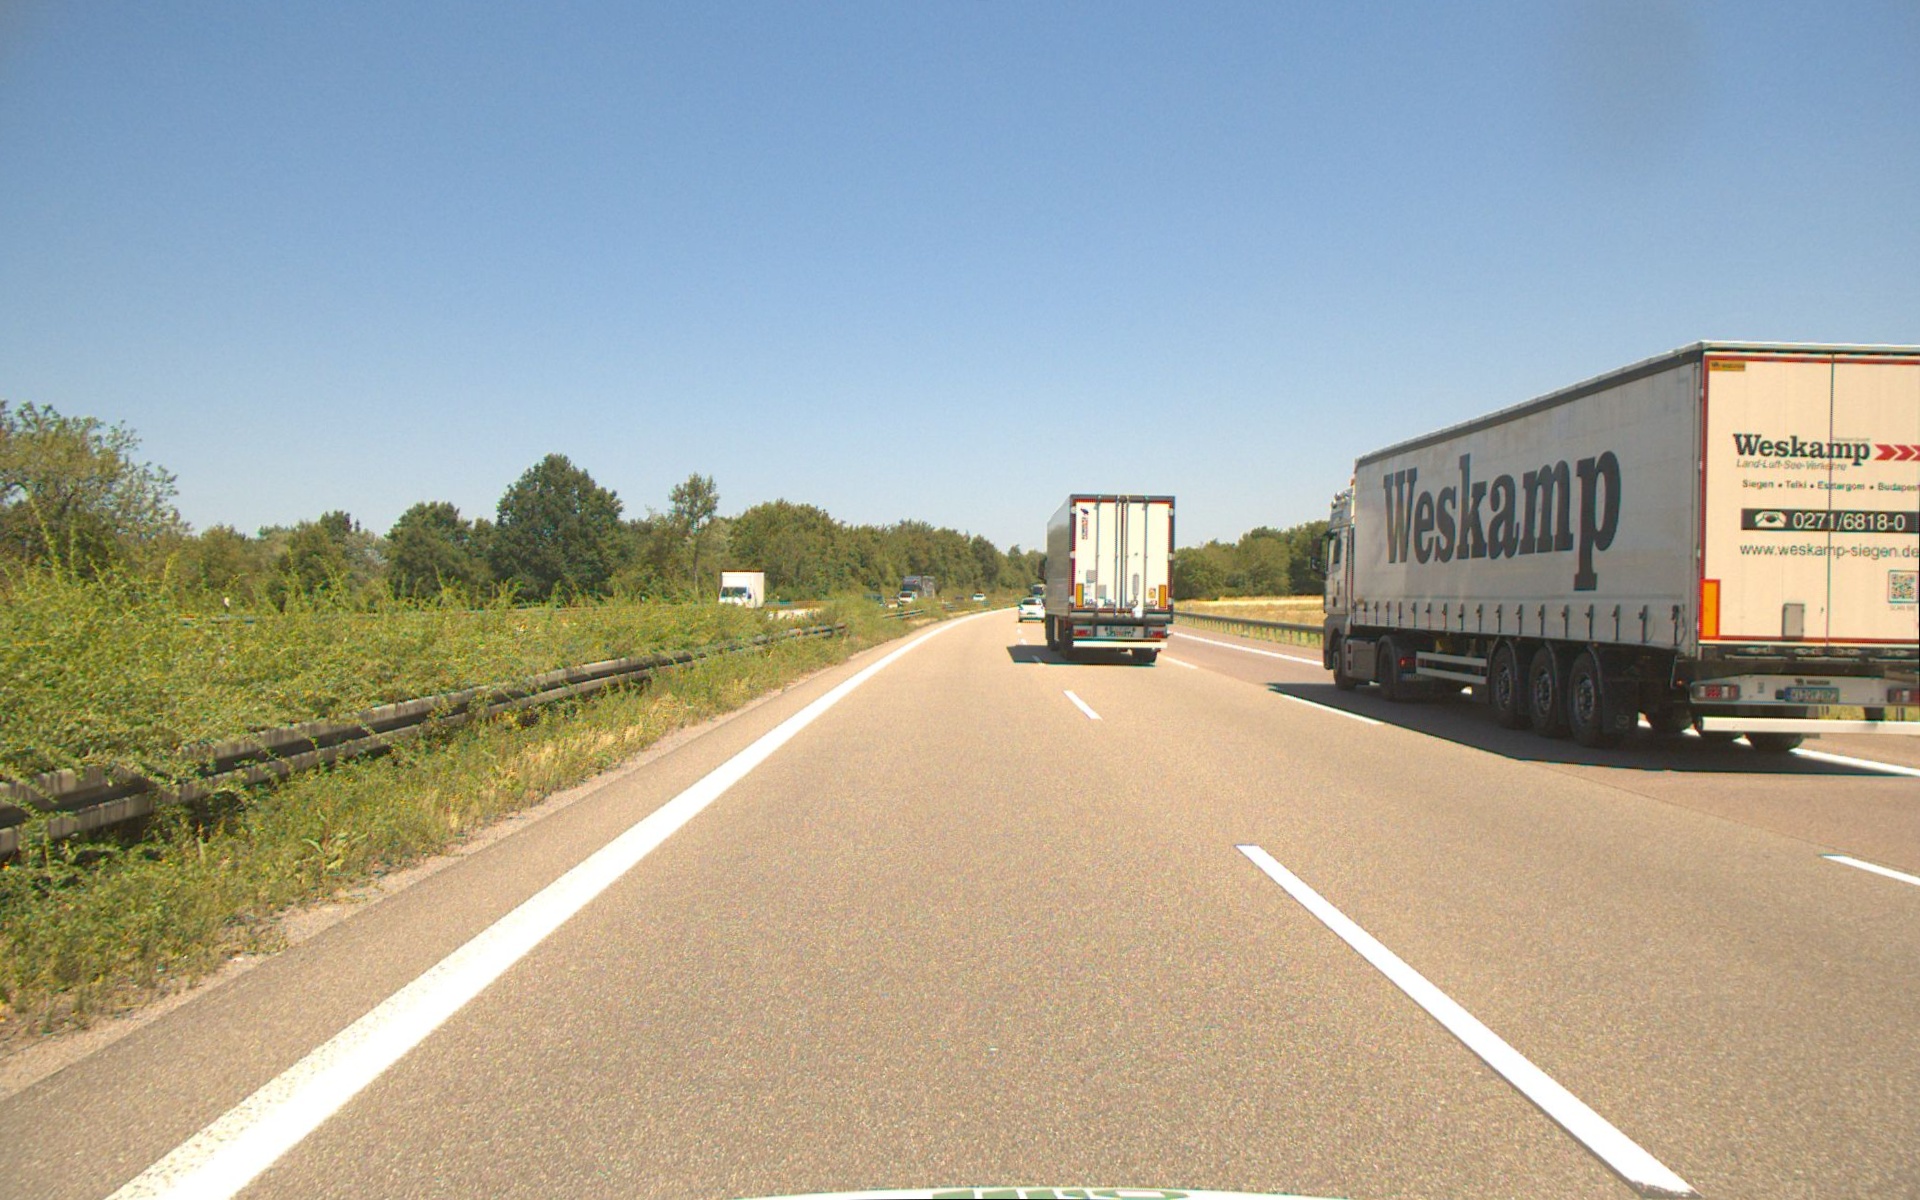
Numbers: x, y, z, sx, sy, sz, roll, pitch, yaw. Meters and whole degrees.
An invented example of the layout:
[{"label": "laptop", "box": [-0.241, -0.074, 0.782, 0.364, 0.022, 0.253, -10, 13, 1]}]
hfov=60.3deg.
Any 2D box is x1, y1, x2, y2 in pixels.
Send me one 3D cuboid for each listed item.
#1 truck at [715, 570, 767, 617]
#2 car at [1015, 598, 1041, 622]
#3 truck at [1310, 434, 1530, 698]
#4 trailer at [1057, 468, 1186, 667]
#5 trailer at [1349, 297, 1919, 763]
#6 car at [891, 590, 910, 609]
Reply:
[{"label": "truck", "box": [-14.869, -0.433, 112.765, 2.401, 3.153, 6.992, 0, 0, 2]}, {"label": "car", "box": [4.385, 0.626, 106.003, 1.593, 1.505, 4.001, 0, 0, 3]}, {"label": "truck", "box": [8.145, -0.567, 29.892, 2.547, 4.330, 5.089, 1, 0, 0]}, {"label": "trailer", "box": [4.261, -0.801, 46.531, 2.840, 4.738, 13.991, 1, 0, 3]}, {"label": "trailer", "box": [8.175, -0.587, 22.252, 2.542, 4.326, 13.638, 1, -1, 0]}, {"label": "car", "box": [-6.943, -0.068, 194.141, 2.016, 2.107, 5.409, 0, 0, 0]}]
